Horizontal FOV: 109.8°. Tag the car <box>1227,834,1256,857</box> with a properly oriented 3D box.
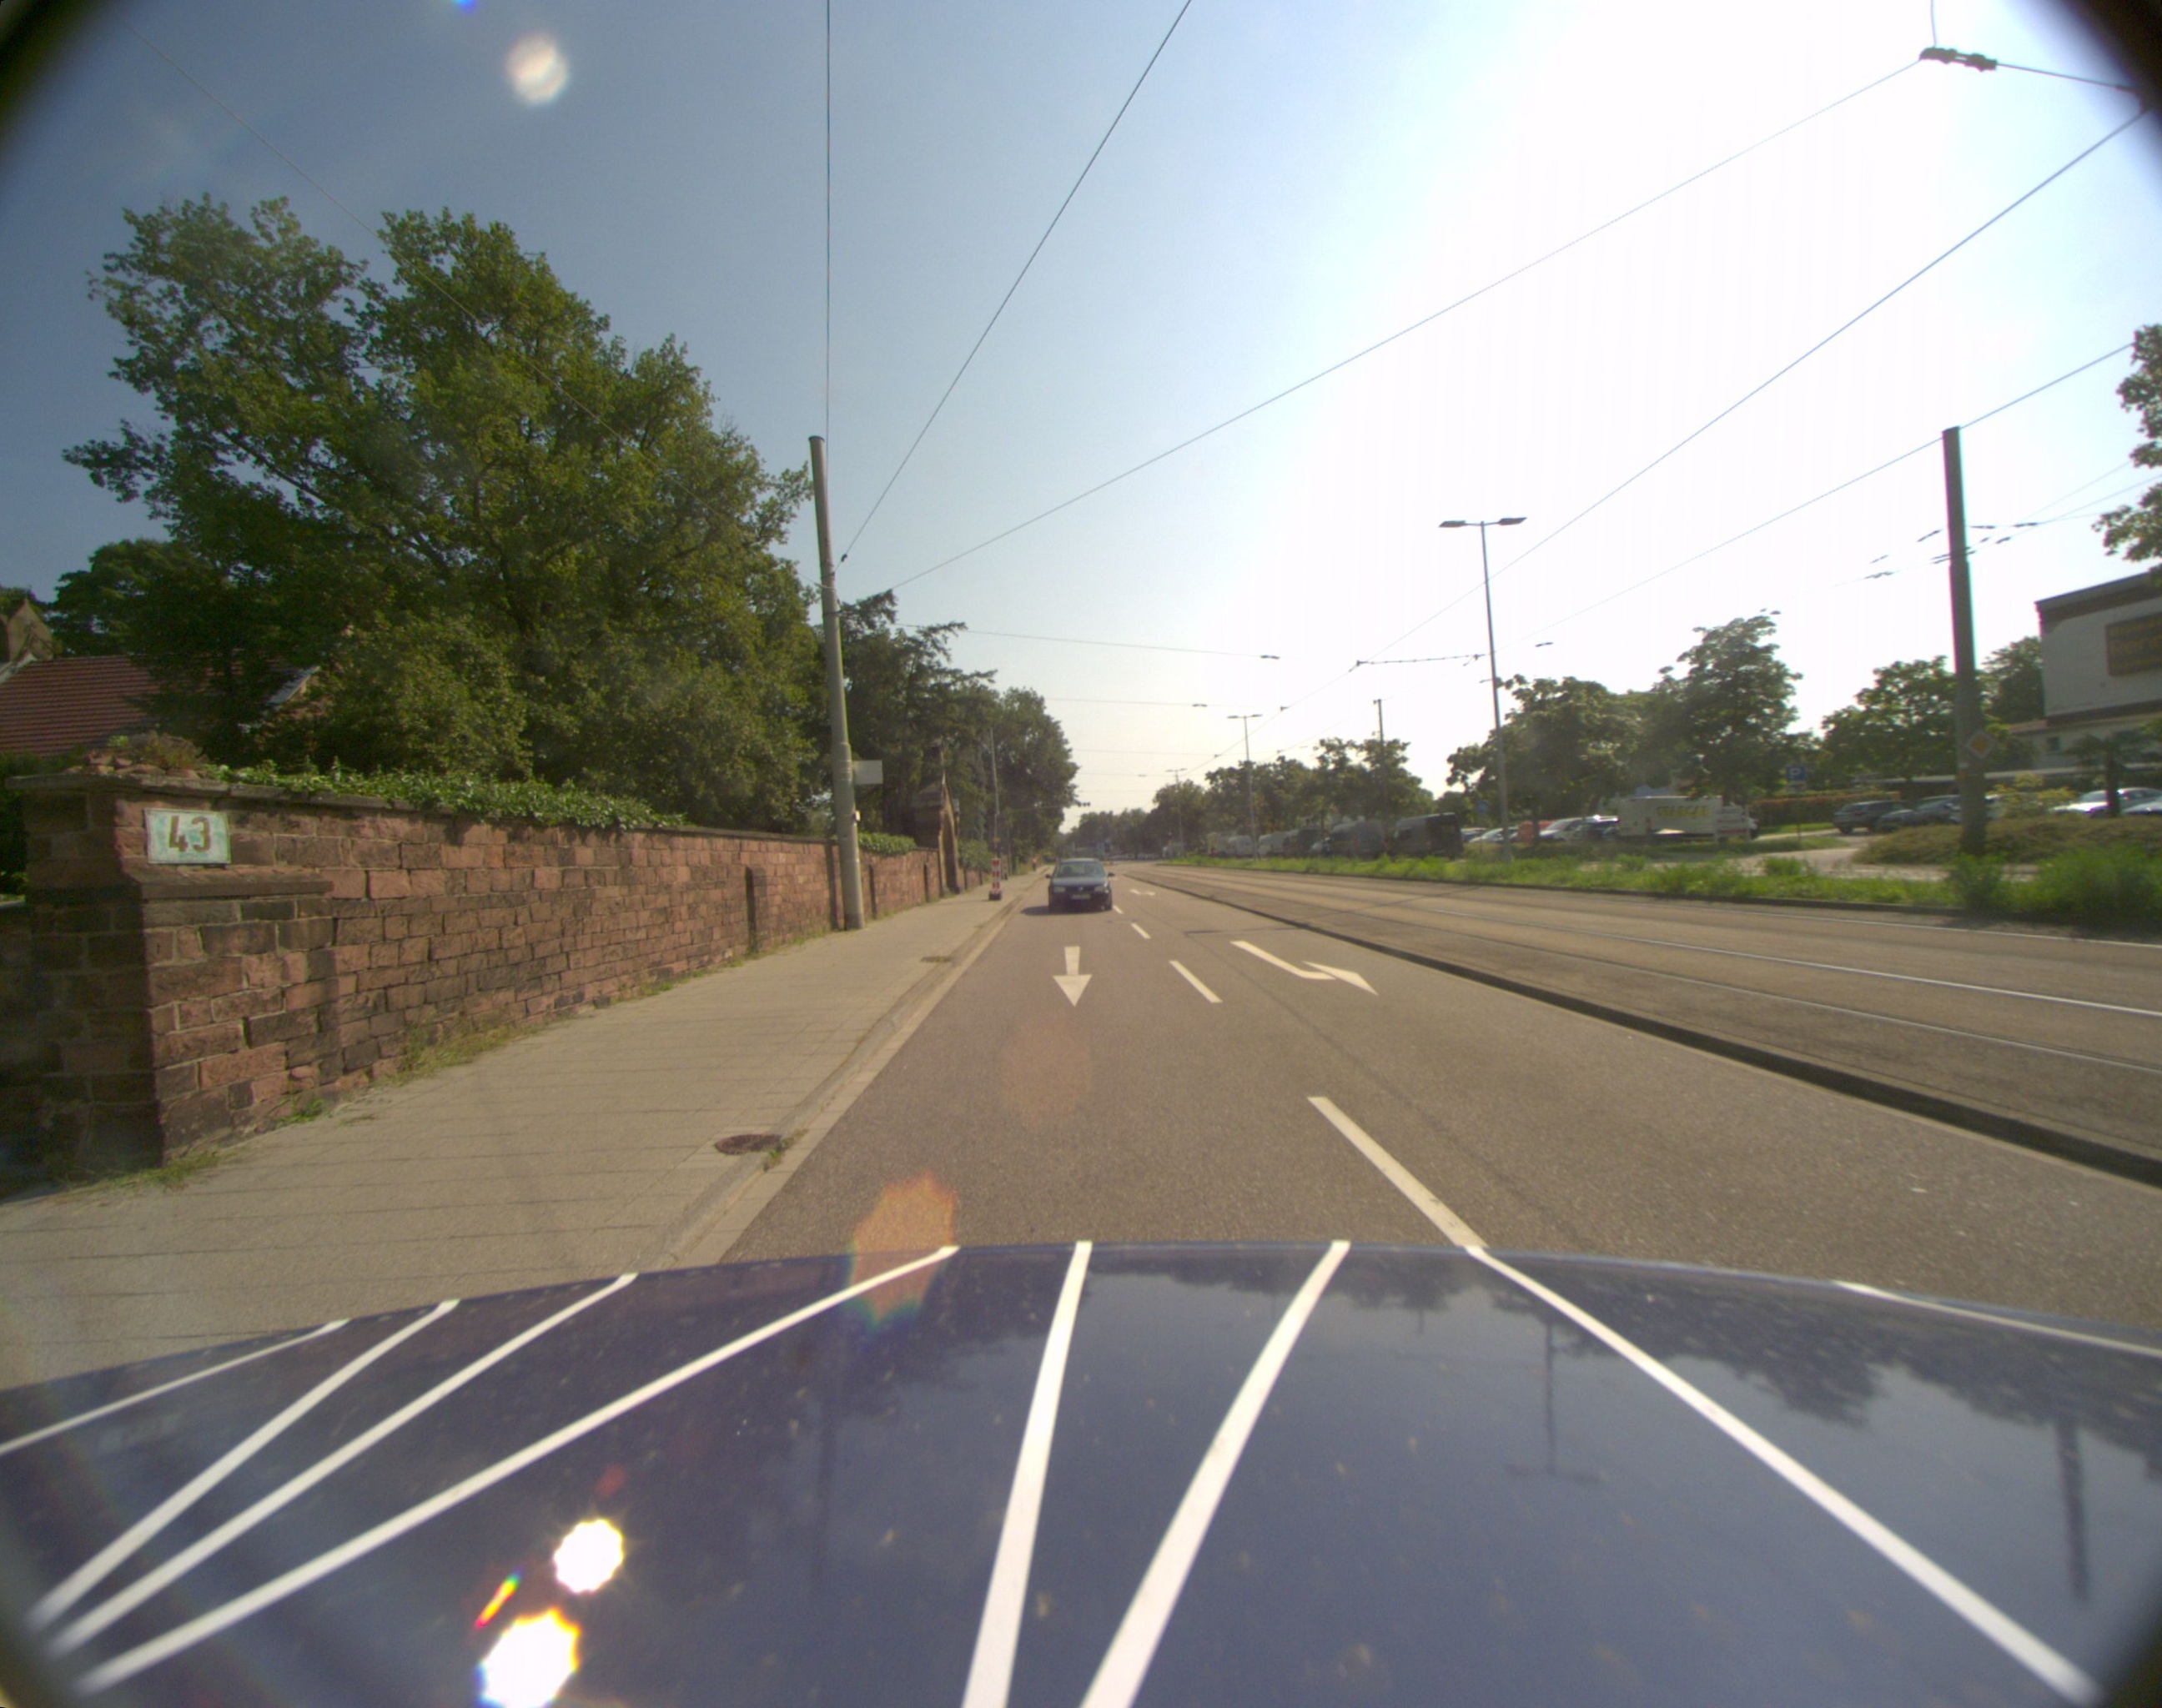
[{"bbox_3d":[18.455,-0.986,87.644,2.148,2.444,4.831,-2,0,-2],"label":"car"}]

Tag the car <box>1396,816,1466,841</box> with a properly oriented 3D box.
[{"bbox_3d":[30.704,-2.202,66.716,5.199,1.914,2.052,-2,1,-2],"label":"car"}]

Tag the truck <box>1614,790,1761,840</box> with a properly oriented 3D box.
[{"bbox_3d":[29.953,-1.907,37.644,5.504,2.160,2.259,-2,1,-2],"label":"truck"}]

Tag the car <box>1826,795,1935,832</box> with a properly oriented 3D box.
[{"bbox_3d":[42.819,-2.160,40.763,3.811,1.758,1.759,-2,1,4],"label":"car"}]

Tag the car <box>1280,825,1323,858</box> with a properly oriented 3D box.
[{"bbox_3d":[18.804,-0.990,65.116,1.827,2.571,5.909,-5,0,0],"label":"car"}]

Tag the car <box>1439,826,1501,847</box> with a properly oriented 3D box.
[{"bbox_3d":[29.885,-1.338,58.406,3.934,1.441,1.633,-2,1,-2],"label":"car"}]

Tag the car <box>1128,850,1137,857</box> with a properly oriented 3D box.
[{"bbox_3d":[12.234,-0.130,179.903,1.930,1.511,3.949,-2,0,2],"label":"car"}]

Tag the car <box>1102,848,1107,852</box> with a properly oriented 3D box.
[{"bbox_3d":[8.157,-1.364,262.286,1.551,1.575,3.455,-2,0,-2],"label":"car"}]

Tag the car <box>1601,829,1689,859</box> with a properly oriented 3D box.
[{"bbox_3d":[29.672,-0.509,40.034,3.413,1.418,1.633,-2,1,-2],"label":"car"}]

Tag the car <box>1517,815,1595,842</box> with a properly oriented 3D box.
[{"bbox_3d":[29.946,-1.583,47.952,3.934,1.509,1.633,-2,1,-2],"label":"car"}]

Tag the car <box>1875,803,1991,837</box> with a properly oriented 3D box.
[{"bbox_3d":[41.853,-1.646,37.408,3.714,1.335,1.491,-4,0,7],"label":"car"}]

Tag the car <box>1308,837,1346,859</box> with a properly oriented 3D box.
[{"bbox_3d":[18.984,-0.448,58.778,1.749,1.543,3.833,-5,0,2],"label":"car"}]

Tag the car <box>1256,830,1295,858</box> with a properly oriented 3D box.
[{"bbox_3d":[18.626,-0.953,73.106,2.138,2.571,5.630,-2,0,0],"label":"car"}]

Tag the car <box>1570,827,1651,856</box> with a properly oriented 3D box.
[{"bbox_3d":[29.647,-0.696,42.597,3.413,1.418,1.633,-2,1,-2],"label":"car"}]

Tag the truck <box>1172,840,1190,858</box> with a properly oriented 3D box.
[{"bbox_3d":[18.415,-0.979,140.433,2.278,3.103,8.787,-2,0,2],"label":"truck"}]

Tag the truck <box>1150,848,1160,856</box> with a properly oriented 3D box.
[{"bbox_3d":[16.632,-0.378,170.737,1.691,1.665,3.655,-2,0,0],"label":"truck"}]

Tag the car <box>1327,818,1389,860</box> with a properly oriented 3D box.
[{"bbox_3d":[19.067,-1.013,52.598,1.993,2.571,6.467,-5,0,3],"label":"car"}]

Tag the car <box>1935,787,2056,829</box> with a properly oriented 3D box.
[{"bbox_3d":[42.248,-2.095,35.154,3.456,1.493,1.876,-6,1,-4],"label":"car"}]

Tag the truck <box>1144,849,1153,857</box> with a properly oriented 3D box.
[{"bbox_3d":[16.506,-0.250,186.378,1.691,1.665,3.655,-2,0,0],"label":"truck"}]

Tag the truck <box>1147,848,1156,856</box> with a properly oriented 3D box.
[{"bbox_3d":[16.784,-0.441,180.909,1.691,1.665,3.655,-2,0,0],"label":"truck"}]

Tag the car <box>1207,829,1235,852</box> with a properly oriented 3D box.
[{"bbox_3d":[17.856,-1.719,97.318,2.130,2.789,7.230,-2,0,0],"label":"car"}]

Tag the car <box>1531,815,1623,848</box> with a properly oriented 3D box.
[{"bbox_3d":[29.440,-1.327,45.196,4.410,1.774,1.633,-2,1,-2],"label":"car"}]

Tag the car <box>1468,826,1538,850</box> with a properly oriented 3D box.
[{"bbox_3d":[29.534,-1.119,53.219,4.170,1.455,1.623,-3,0,-10],"label":"car"}]

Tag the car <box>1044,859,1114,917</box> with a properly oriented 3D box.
[{"bbox_3d":[-0.039,0.892,21.811,1.776,1.416,3.935,-2,0,0],"label":"car"}]

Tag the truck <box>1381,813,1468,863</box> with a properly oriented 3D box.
[{"bbox_3d":[19.158,-0.863,42.703,2.086,2.533,5.738,-2,0,-2],"label":"truck"}]
